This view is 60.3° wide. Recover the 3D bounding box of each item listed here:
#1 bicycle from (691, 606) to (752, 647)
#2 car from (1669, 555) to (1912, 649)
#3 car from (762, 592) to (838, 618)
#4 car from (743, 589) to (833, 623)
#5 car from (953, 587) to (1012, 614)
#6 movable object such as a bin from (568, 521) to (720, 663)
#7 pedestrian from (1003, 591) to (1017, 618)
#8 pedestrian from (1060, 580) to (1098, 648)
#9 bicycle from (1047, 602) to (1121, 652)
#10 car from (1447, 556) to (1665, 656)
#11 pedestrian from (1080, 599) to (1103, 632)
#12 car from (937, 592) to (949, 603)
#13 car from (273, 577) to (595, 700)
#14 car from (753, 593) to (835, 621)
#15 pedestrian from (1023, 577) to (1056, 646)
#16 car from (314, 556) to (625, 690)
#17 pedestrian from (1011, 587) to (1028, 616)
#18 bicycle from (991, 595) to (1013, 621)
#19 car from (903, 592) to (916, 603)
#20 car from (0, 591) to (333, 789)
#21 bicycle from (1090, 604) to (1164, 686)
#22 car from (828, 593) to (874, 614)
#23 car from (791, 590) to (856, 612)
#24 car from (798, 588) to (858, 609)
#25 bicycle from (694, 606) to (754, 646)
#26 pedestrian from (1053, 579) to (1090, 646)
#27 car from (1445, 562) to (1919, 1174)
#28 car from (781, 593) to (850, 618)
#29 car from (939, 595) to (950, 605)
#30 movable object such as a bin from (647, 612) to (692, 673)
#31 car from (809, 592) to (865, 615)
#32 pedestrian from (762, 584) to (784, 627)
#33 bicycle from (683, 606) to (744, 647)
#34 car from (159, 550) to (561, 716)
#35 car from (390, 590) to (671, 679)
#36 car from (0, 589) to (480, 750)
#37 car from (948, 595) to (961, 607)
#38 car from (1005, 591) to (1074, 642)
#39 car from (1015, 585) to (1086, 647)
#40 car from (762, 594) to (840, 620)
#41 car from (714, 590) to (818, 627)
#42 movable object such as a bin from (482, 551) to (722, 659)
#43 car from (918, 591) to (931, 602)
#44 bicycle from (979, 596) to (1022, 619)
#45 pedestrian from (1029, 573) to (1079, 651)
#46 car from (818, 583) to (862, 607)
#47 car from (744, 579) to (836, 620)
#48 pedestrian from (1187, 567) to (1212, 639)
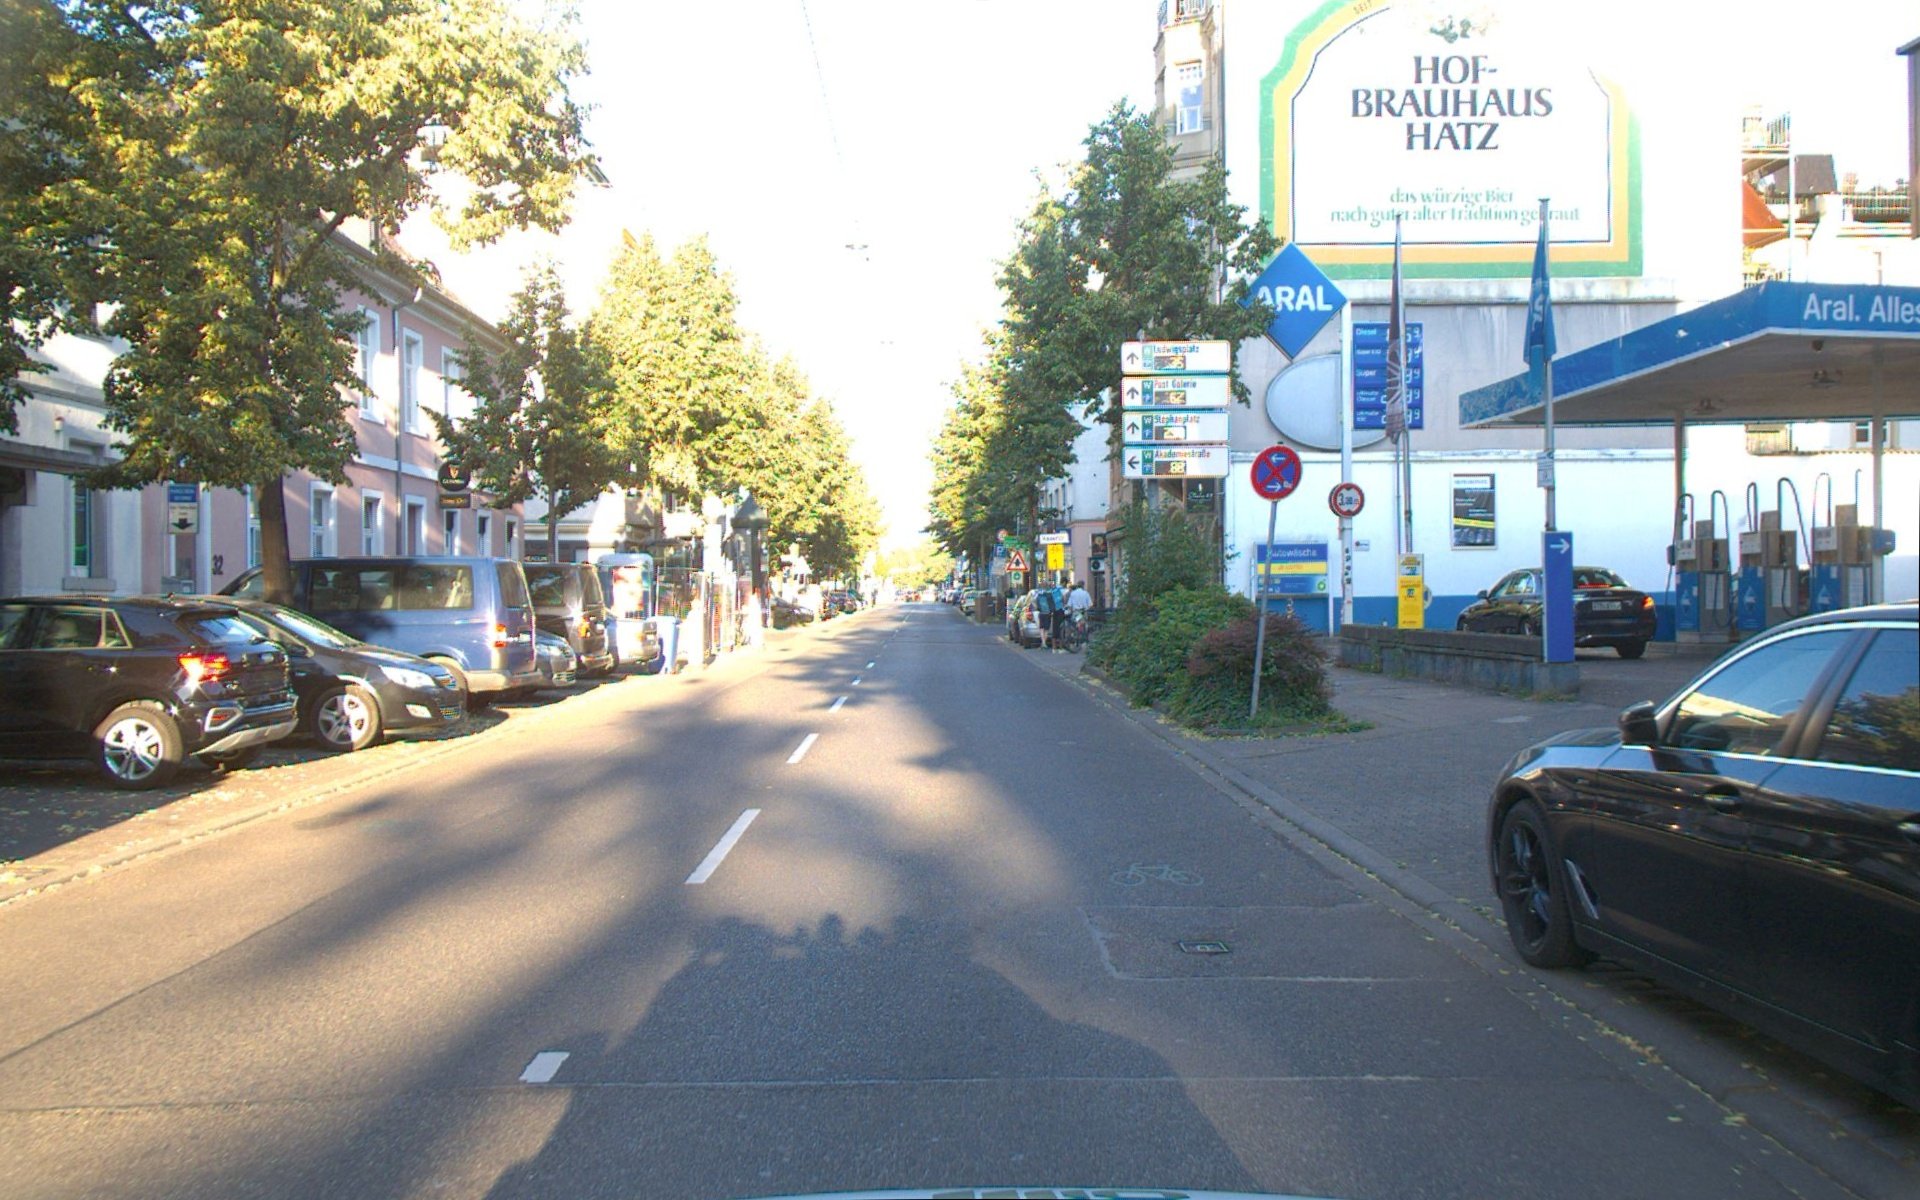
[{"bbox_3d":[-6.960,0.773,48.218,1.647,1.097,0.445,2,-1,7],"label":"bicycle"},{"bbox_3d":[14.132,0.062,28.490,1.675,1.426,4.757,-1,-1,-1],"label":"car"},{"bbox_3d":[-9.518,0.283,98.664,4.352,1.484,1.859,1,0,-1],"label":"car"},{"bbox_3d":[-9.001,0.297,86.803,4.478,1.727,2.060,1,0,-1],"label":"car"},{"bbox_3d":[1.409,0.022,102.806,1.645,1.616,3.801,1,0,41],"label":"car"},{"bbox_3d":[-7.122,-0.187,37.930,2.572,3.021,5.302,0,0,-1],"label":"movable object such as a bin"},{"bbox_3d":[2.587,0.209,85.867,0.711,1.402,0.781,0,0,-1],"label":"pedestrian"},{"bbox_3d":[3.103,0.372,42.970,0.657,1.730,0.648,-3,0,45],"label":"pedestrian"},{"bbox_3d":[3.038,0.659,40.346,0.850,1.118,1.919,-2,1,37],"label":"bicycle"},{"bbox_3d":[9.676,0.122,27.296,1.699,1.456,4.907,-1,-1,-1],"label":"car"},{"bbox_3d":[4.740,0.579,59.882,0.668,1.161,1.360,-2,-1,-1],"label":"pedestrian"},{"bbox_3d":[-2.426,-0.360,234.662,1.716,1.567,3.303,-1,0,0],"label":"car"},{"bbox_3d":[-7.507,0.530,23.899,4.045,1.665,1.860,1,0,-1],"label":"car"},{"bbox_3d":[-9.199,0.390,91.794,4.352,1.532,1.844,1,0,-1],"label":"car"},{"bbox_3d":[2.086,0.301,43.284,0.665,1.785,0.823,-1,0,-12],"label":"pedestrian"},{"bbox_3d":[-7.719,0.348,26.393,4.394,2.010,1.964,1,0,-3],"label":"car"},{"bbox_3d":[3.995,0.090,110.450,0.900,1.959,1.015,1,0,-11],"label":"pedestrian"},{"bbox_3d":[2.026,0.372,79.564,0.585,1.198,1.847,0,0,18],"label":"bicycle"},{"bbox_3d":[-7.166,-0.333,236.502,1.716,1.567,3.303,-1,0,0],"label":"car"},{"bbox_3d":[-7.625,0.705,14.040,3.842,1.527,1.905,0,0,1],"label":"car"},{"bbox_3d":[2.595,0.683,25.603,0.473,1.163,1.678,-3,0,29],"label":"bicycle"},{"bbox_3d":[-10.524,0.331,159.523,4.352,1.994,1.919,0,0,-1],"label":"car"},{"bbox_3d":[-9.476,0.044,114.889,4.352,1.474,1.919,1,0,-1],"label":"car"},{"bbox_3d":[-10.024,-0.107,125.751,4.352,1.549,1.919,1,0,-1],"label":"car"},{"bbox_3d":[-6.964,0.766,48.807,1.647,1.097,0.445,2,-1,7],"label":"bicycle"},{"bbox_3d":[2.929,0.326,43.575,0.666,1.735,0.822,-3,0,-16],"label":"pedestrian"},{"bbox_3d":[3.233,0.644,5.087,1.792,1.514,4.847,-2,0,-3],"label":"car"},{"bbox_3d":[-9.454,0.369,108.281,4.352,1.595,1.919,1,0,-1],"label":"car"},{"bbox_3d":[-2.104,0.051,223.245,1.482,1.321,3.303,0,0,0],"label":"car"},{"bbox_3d":[-5.576,0.811,31.735,0.675,1.124,0.883,-1,0,1],"label":"movable object such as a bin"},{"bbox_3d":[-9.835,0.255,132.255,4.352,1.790,1.919,1,0,-1],"label":"car"},{"bbox_3d":[-7.527,0.221,66.471,0.695,1.716,0.834,0,0,8],"label":"pedestrian"},{"bbox_3d":[-7.103,0.763,47.623,1.649,1.097,0.444,2,-1,-2],"label":"bicycle"},{"bbox_3d":[-7.571,0.395,21.231,4.392,2.010,2.068,0,0,-1],"label":"car"},{"bbox_3d":[-7.626,0.588,29.664,4.499,1.495,1.893,1,0,1],"label":"car"},{"bbox_3d":[-7.316,0.686,17.080,4.243,1.527,1.840,1,0,-7],"label":"car"},{"bbox_3d":[-0.581,0.148,182.318,1.482,1.298,3.303,0,0,0],"label":"car"},{"bbox_3d":[2.389,0.469,50.685,1.749,1.399,4.522,-3,0,-1],"label":"car"},{"bbox_3d":[2.492,0.413,46.361,1.653,1.602,4.012,-3,0,-1],"label":"car"},{"bbox_3d":[-9.261,0.402,96.363,4.352,1.510,1.809,1,0,-1],"label":"car"},{"bbox_3d":[-8.596,0.382,73.653,4.455,1.568,1.810,1,0,-3],"label":"car"},{"bbox_3d":[-8.953,0.097,41.790,2.272,2.539,5.720,0,0,42],"label":"movable object such as a bin"},{"bbox_3d":[-4.782,-0.468,223.308,1.716,1.567,3.303,-1,0,0],"label":"car"},{"bbox_3d":[1.912,0.358,78.100,1.918,1.092,0.704,0,0,31],"label":"bicycle"},{"bbox_3d":[2.296,0.291,40.464,0.995,1.857,0.778,-3,0,-11],"label":"pedestrian"},{"bbox_3d":[-12.288,-0.522,169.653,4.352,2.477,1.919,0,0,-1],"label":"car"},{"bbox_3d":[-8.611,-0.038,83.990,4.479,1.996,1.990,1,0,-2],"label":"car"},{"bbox_3d":[6.379,0.071,44.043,0.452,1.908,0.499,-1,0,-16],"label":"pedestrian"}]
